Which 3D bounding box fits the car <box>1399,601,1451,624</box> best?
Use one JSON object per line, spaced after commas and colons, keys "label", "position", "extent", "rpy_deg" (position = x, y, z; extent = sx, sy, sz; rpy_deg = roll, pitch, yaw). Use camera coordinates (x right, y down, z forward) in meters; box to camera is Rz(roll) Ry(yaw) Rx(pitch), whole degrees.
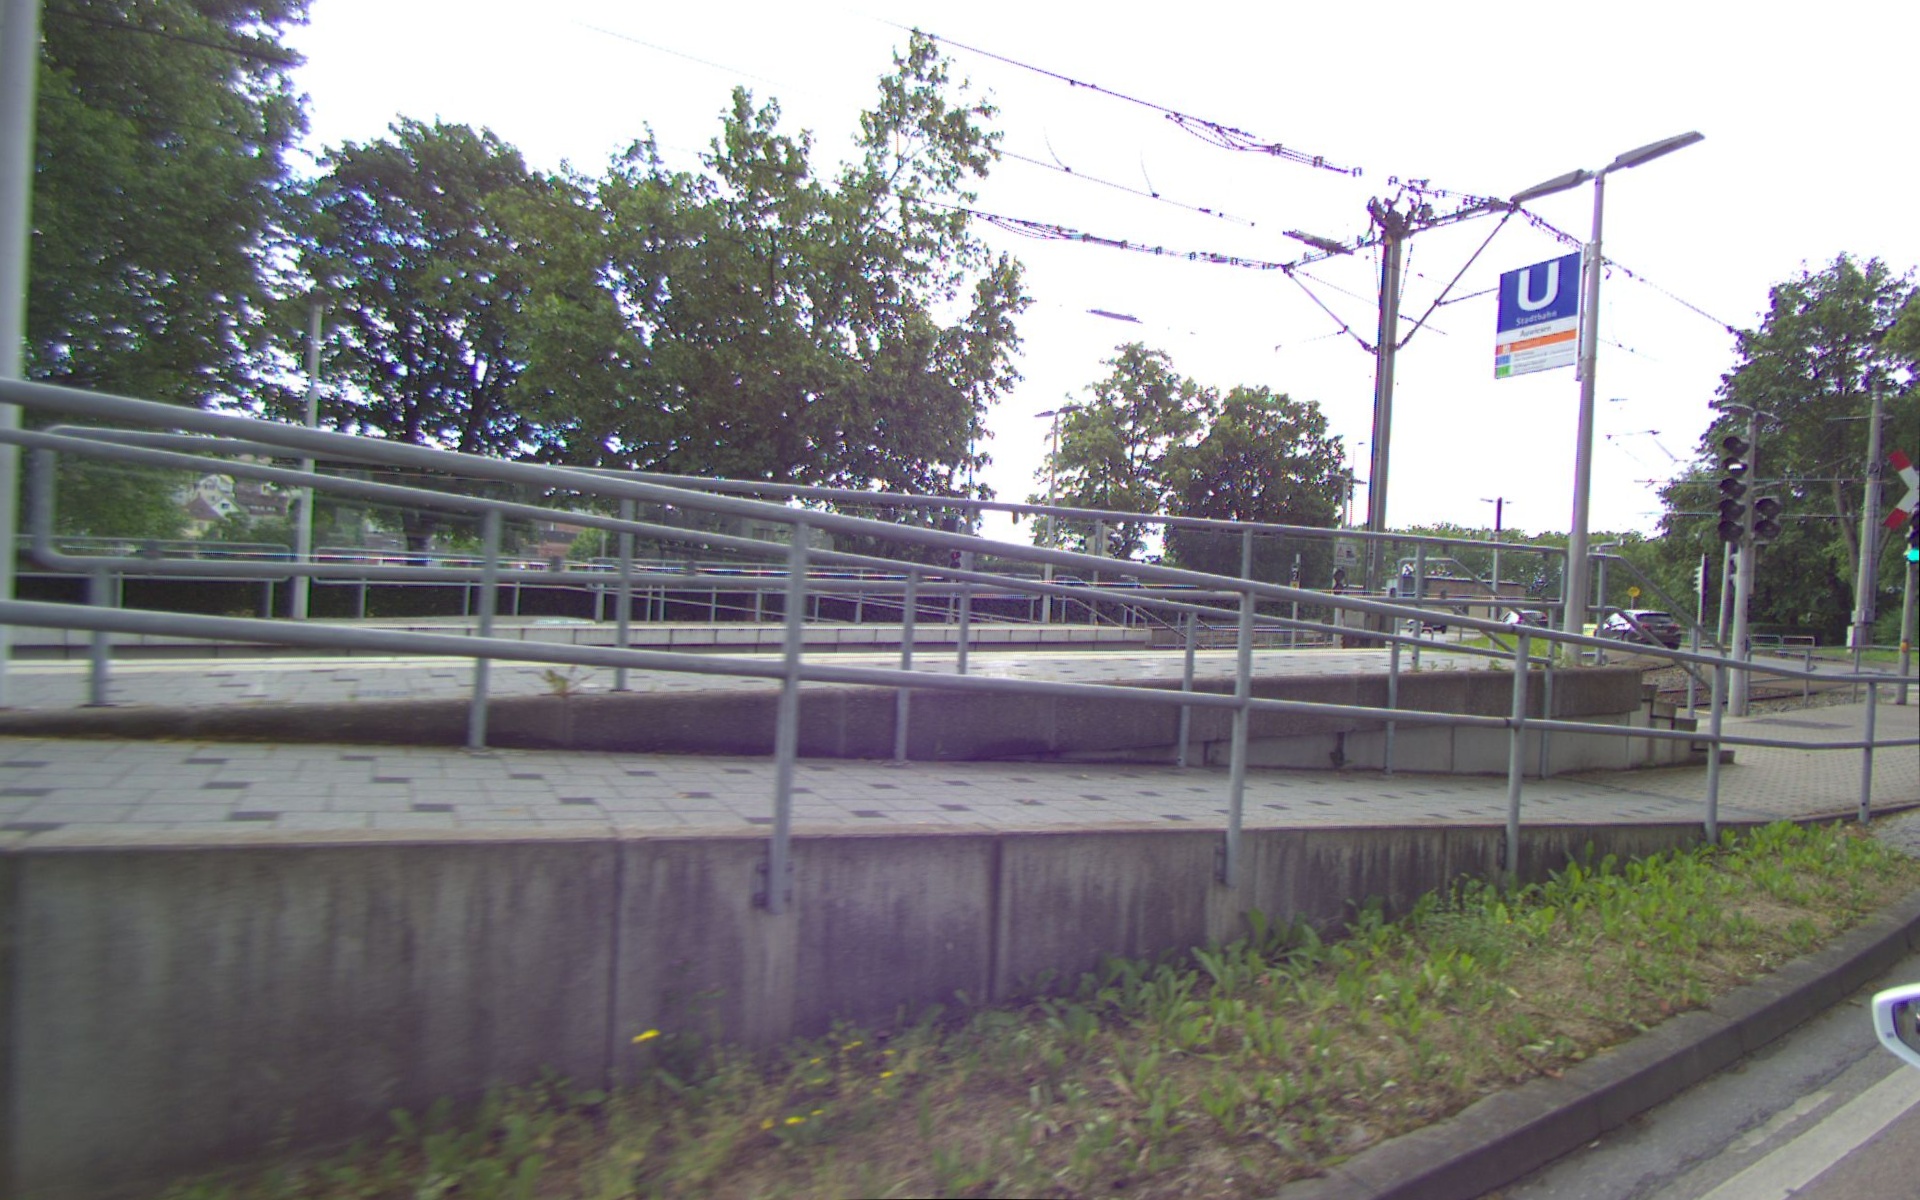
{"label": "car", "position": [31.535, 0.822, 68.292], "extent": [1.960, 1.418, 4.002], "rpy_deg": [2, 1, 6]}

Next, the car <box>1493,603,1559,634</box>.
{"label": "car", "position": [29.437, 0.933, 52.356], "extent": [1.959, 1.418, 4.002], "rpy_deg": [2, 1, 14]}

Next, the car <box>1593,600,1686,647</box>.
{"label": "car", "position": [26.896, 0.889, 39.892], "extent": [1.751, 1.670, 4.002], "rpy_deg": [1, 1, 14]}
